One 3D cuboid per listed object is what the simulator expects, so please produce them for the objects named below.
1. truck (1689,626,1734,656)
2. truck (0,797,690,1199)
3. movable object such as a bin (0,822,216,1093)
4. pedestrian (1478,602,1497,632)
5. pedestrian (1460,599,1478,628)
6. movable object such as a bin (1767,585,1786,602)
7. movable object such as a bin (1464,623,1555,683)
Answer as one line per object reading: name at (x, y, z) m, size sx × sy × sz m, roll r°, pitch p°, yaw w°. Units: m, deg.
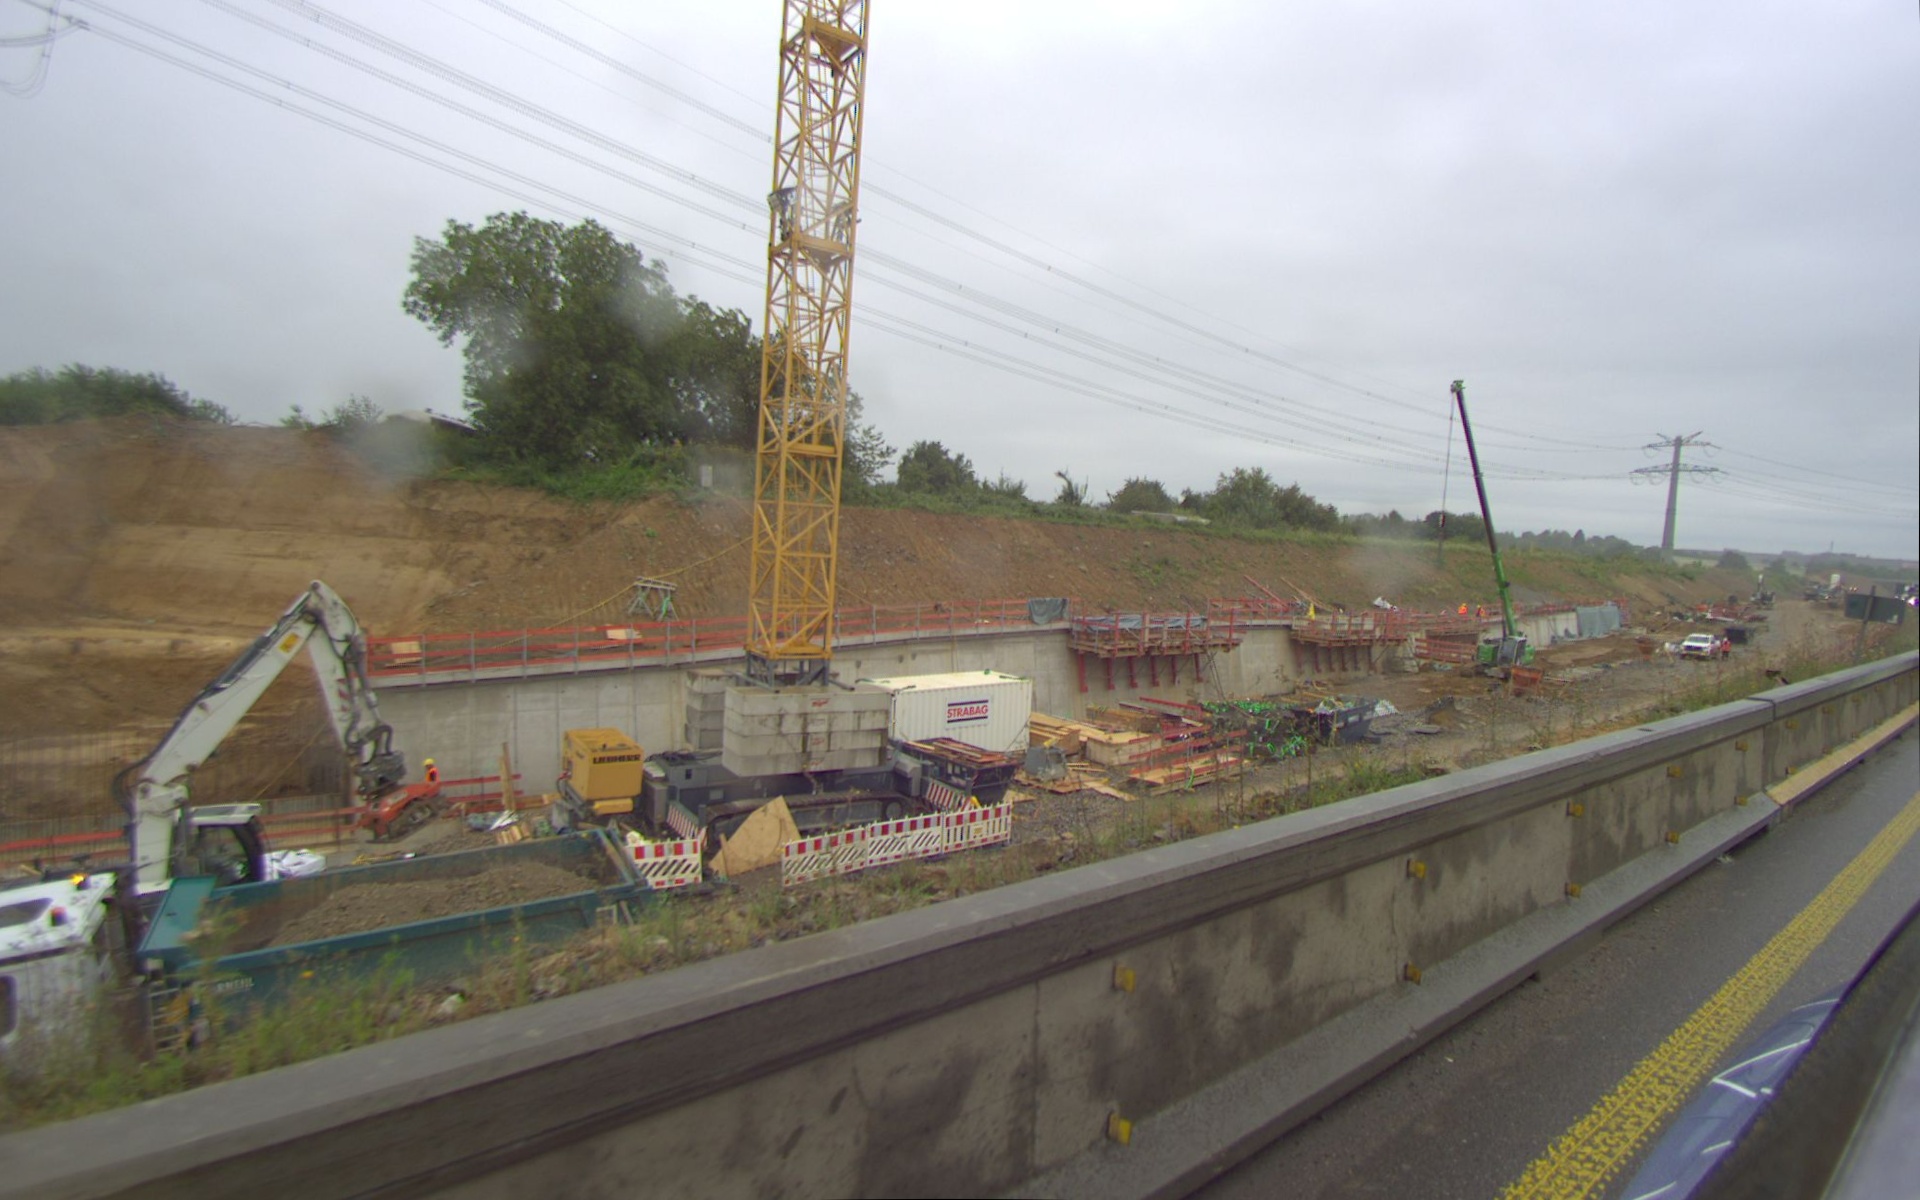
truck at (56.243, 3.028, 75.714) m, size 5.692 × 1.893 × 1.764 m, roll -1°, pitch 4°, yaw -44°
truck at (-8.408, 5.169, 13.786) m, size 8.766 × 3.547 × 2.712 m, roll 0°, pitch 1°, yaw -28°
movable object such as a bin at (-13.553, 5.385, 15.827) m, size 2.916 × 2.771 × 3.156 m, roll -1°, pitch 2°, yaw -40°
pedestrian at (41.641, 1.343, 79.889) m, size 0.988 × 2.260 × 0.916 m, roll -2°, pitch -2°, yaw -40°
pedestrian at (40.656, 1.093, 80.848) m, size 0.914 × 2.275 × 0.991 m, roll -4°, pitch -2°, yaw 42°
movable object such as a bin at (136.943, -1.072, 169.669) m, size 2.245 × 2.753 × 3.939 m, roll 1°, pitch 2°, yaw 42°
movable object such as a bin at (34.087, 3.194, 62.783) m, size 4.781 × 2.836 × 3.795 m, roll -8°, pitch 8°, yaw -44°
